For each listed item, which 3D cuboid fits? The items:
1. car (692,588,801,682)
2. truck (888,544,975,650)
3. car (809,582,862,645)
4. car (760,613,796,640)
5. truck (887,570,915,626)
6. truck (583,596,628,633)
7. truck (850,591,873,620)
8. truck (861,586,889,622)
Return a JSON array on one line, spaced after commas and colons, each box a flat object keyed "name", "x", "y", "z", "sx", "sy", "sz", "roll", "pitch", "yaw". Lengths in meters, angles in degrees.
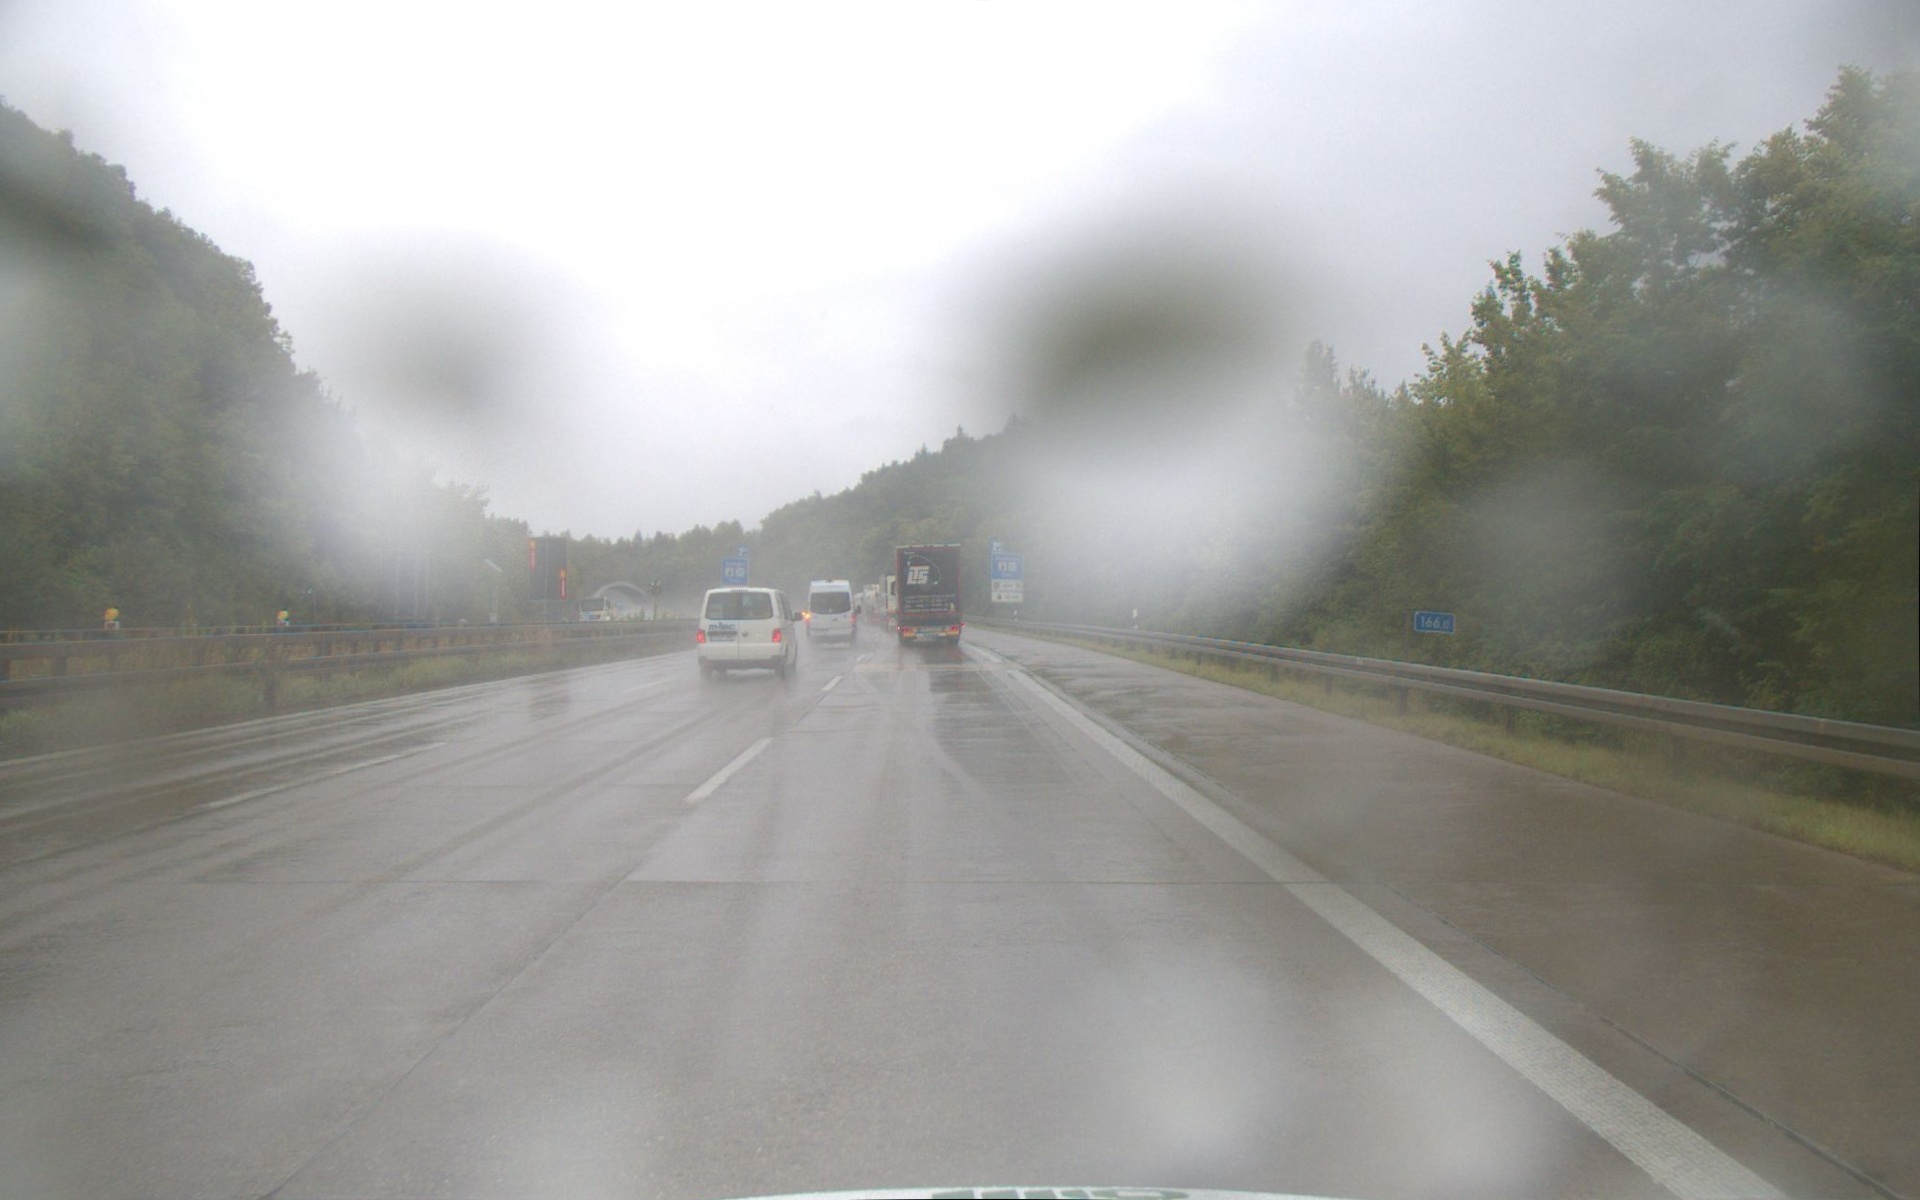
[{"name": "car", "x": -4.667, "y": 0.743, "z": 36.768, "sx": 1.861, "sy": 1.927, "sz": 5.041, "roll": 1, "pitch": 0, "yaw": -2}, {"name": "truck", "x": -1.279, "y": -0.238, "z": 69.537, "sx": 3.317, "sy": 4.037, "sz": 8.664, "roll": -2, "pitch": 2, "yaw": -2}, {"name": "car", "x": -4.988, "y": 0.516, "z": 65.703, "sx": 1.863, "sy": 2.375, "sz": 5.243, "roll": 1, "pitch": 0, "yaw": -6}, {"name": "car", "x": -10.115, "y": 1.460, "z": 92.286, "sx": 1.706, "sy": 1.412, "sz": 4.318, "roll": 1, "pitch": -1, "yaw": -3}, {"name": "truck", "x": -4.243, "y": -0.137, "z": 118.931, "sx": 1.953, "sy": 3.872, "sz": 6.730, "roll": 0, "pitch": 0, "yaw": -2}, {"name": "truck", "x": -30.495, "y": 1.208, "z": 142.555, "sx": 2.251, "sy": 3.071, "sz": 7.920, "roll": 1, "pitch": 0, "yaw": -1}, {"name": "truck", "x": -11.047, "y": 0.599, "z": 185.415, "sx": 1.956, "sy": 3.225, "sz": 6.720, "roll": 0, "pitch": 0, "yaw": -8}, {"name": "truck", "x": -7.944, "y": 0.387, "z": 153.840, "sx": 1.956, "sy": 3.225, "sz": 6.720, "roll": 0, "pitch": 0, "yaw": -8}]
